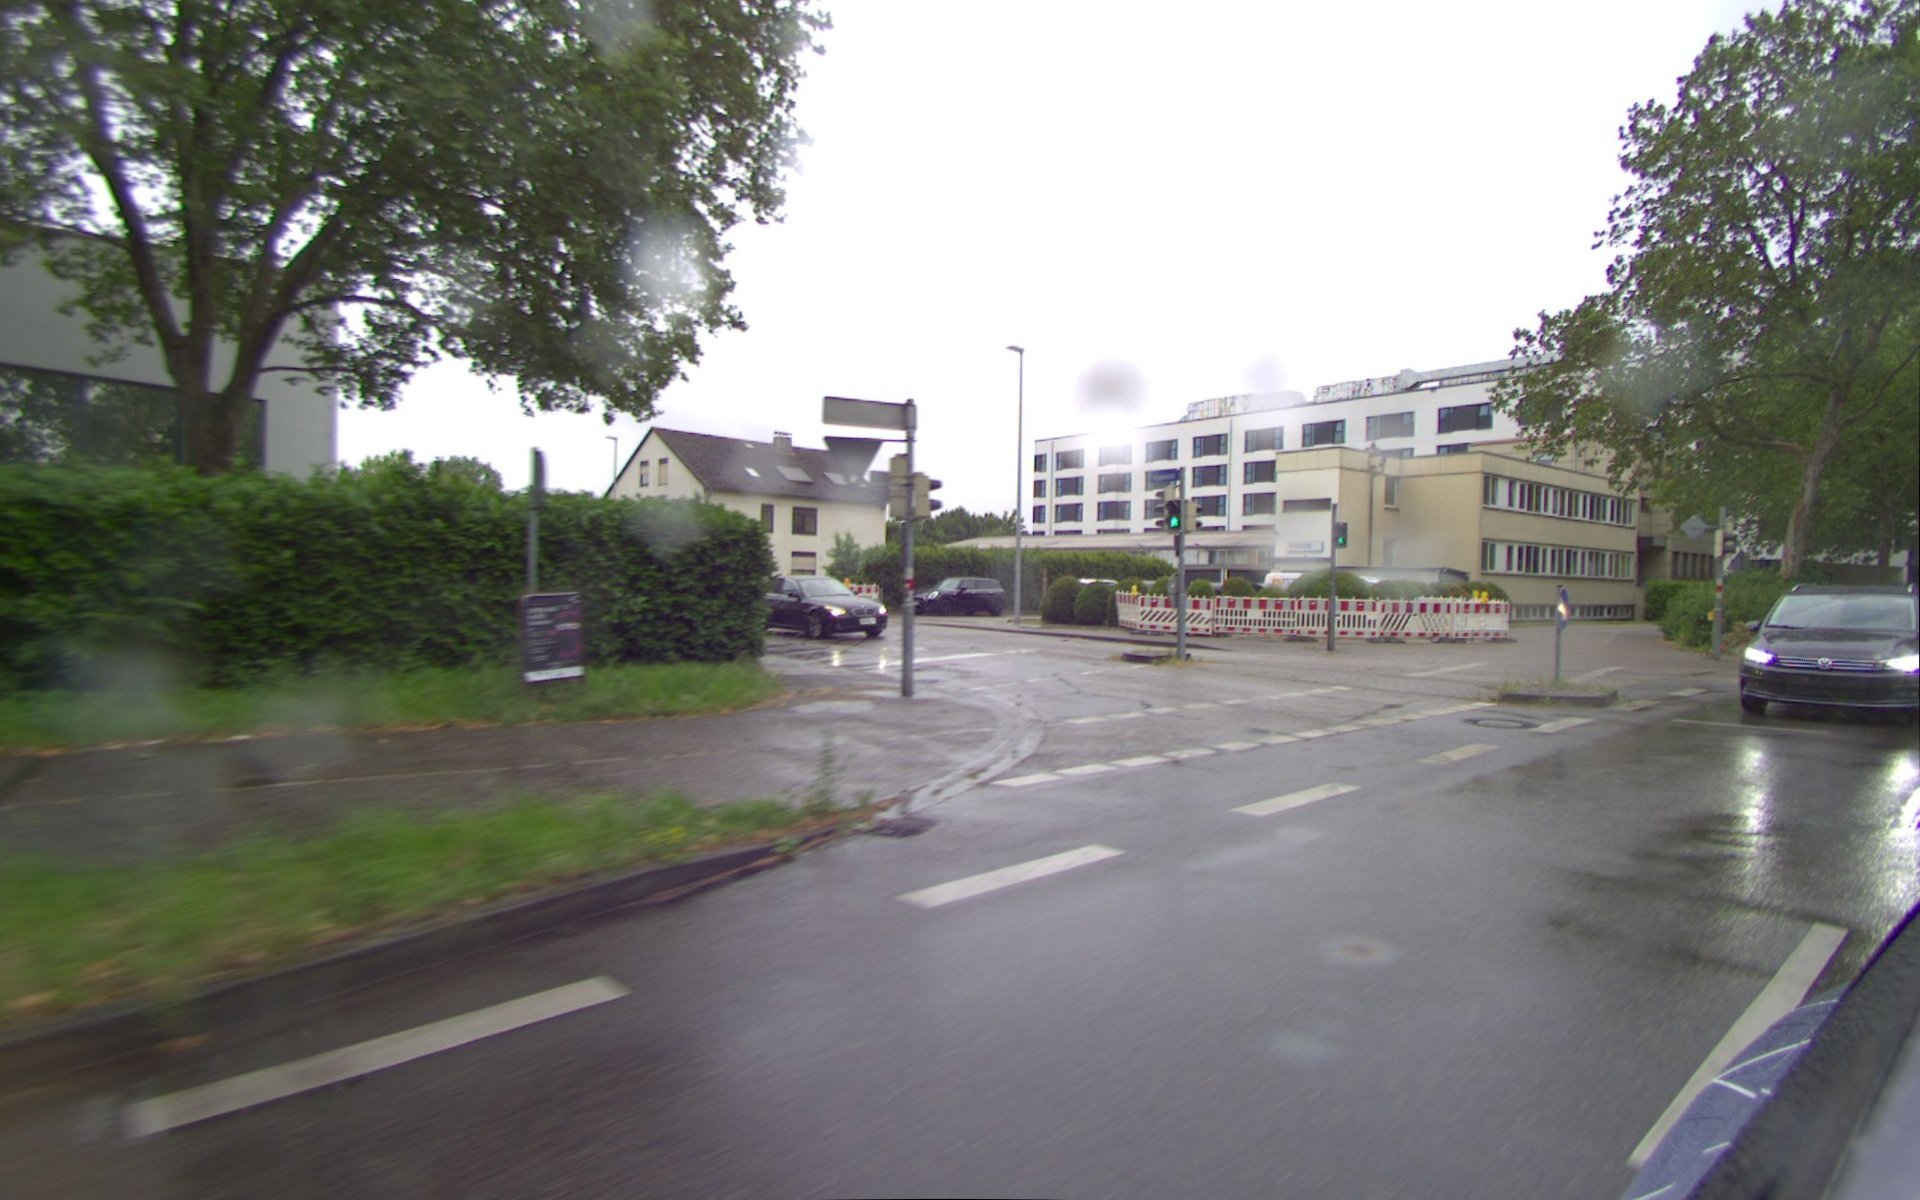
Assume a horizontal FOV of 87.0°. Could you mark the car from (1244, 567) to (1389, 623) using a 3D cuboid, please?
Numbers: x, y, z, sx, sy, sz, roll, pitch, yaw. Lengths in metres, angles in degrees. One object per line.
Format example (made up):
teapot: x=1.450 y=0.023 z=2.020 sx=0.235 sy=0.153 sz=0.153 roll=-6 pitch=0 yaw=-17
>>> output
car: x=12.621 y=-0.213 z=36.066 sx=1.749 sy=1.779 sz=4.547 roll=0 pitch=2 yaw=-41

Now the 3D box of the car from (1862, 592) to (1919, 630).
car: x=39.342 y=0.493 z=41.105 sx=3.662 sy=1.434 sz=1.731 roll=3 pitch=2 yaw=30

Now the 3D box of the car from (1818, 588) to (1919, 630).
car: x=34.874 y=0.353 z=37.998 sx=3.656 sy=1.434 sz=1.760 roll=3 pitch=2 yaw=26

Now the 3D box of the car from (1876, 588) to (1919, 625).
car: x=43.241 y=0.342 z=44.459 sx=3.996 sy=1.558 sz=1.734 roll=3 pitch=2 yaw=25

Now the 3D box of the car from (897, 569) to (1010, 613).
car: x=-0.219 y=-0.334 z=38.280 sx=3.989 sy=1.551 sz=1.825 roll=0 pitch=2 yaw=-39

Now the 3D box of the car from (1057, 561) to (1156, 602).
car: x=6.288 y=-0.779 z=43.222 sx=4.229 sy=1.610 sz=1.825 roll=0 pitch=2 yaw=-39

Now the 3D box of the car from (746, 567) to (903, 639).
car: x=-3.399 y=0.000 z=24.627 sx=1.819 sy=1.501 sz=4.390 roll=-1 pitch=3 yaw=-38

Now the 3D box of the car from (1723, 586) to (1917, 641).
car: x=27.604 y=0.387 z=32.711 sx=4.459 sy=1.476 sz=1.731 roll=3 pitch=2 yaw=30

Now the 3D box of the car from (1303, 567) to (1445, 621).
car: x=15.237 y=-0.265 z=37.459 sx=1.717 sy=1.779 sz=4.550 roll=0 pitch=2 yaw=-38

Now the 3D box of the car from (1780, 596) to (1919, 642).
car: x=32.087 y=0.646 z=36.377 sx=3.656 sy=1.434 sz=1.733 roll=3 pitch=2 yaw=26

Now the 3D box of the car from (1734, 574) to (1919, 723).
car: x=12.072 y=0.517 z=13.454 sx=5.497 sy=1.614 sz=1.996 roll=0 pitch=2 yaw=-44

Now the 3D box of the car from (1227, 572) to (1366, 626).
car: x=11.190 y=-0.099 z=33.954 sx=1.790 sy=1.609 sz=4.312 roll=-1 pitch=3 yaw=-30
